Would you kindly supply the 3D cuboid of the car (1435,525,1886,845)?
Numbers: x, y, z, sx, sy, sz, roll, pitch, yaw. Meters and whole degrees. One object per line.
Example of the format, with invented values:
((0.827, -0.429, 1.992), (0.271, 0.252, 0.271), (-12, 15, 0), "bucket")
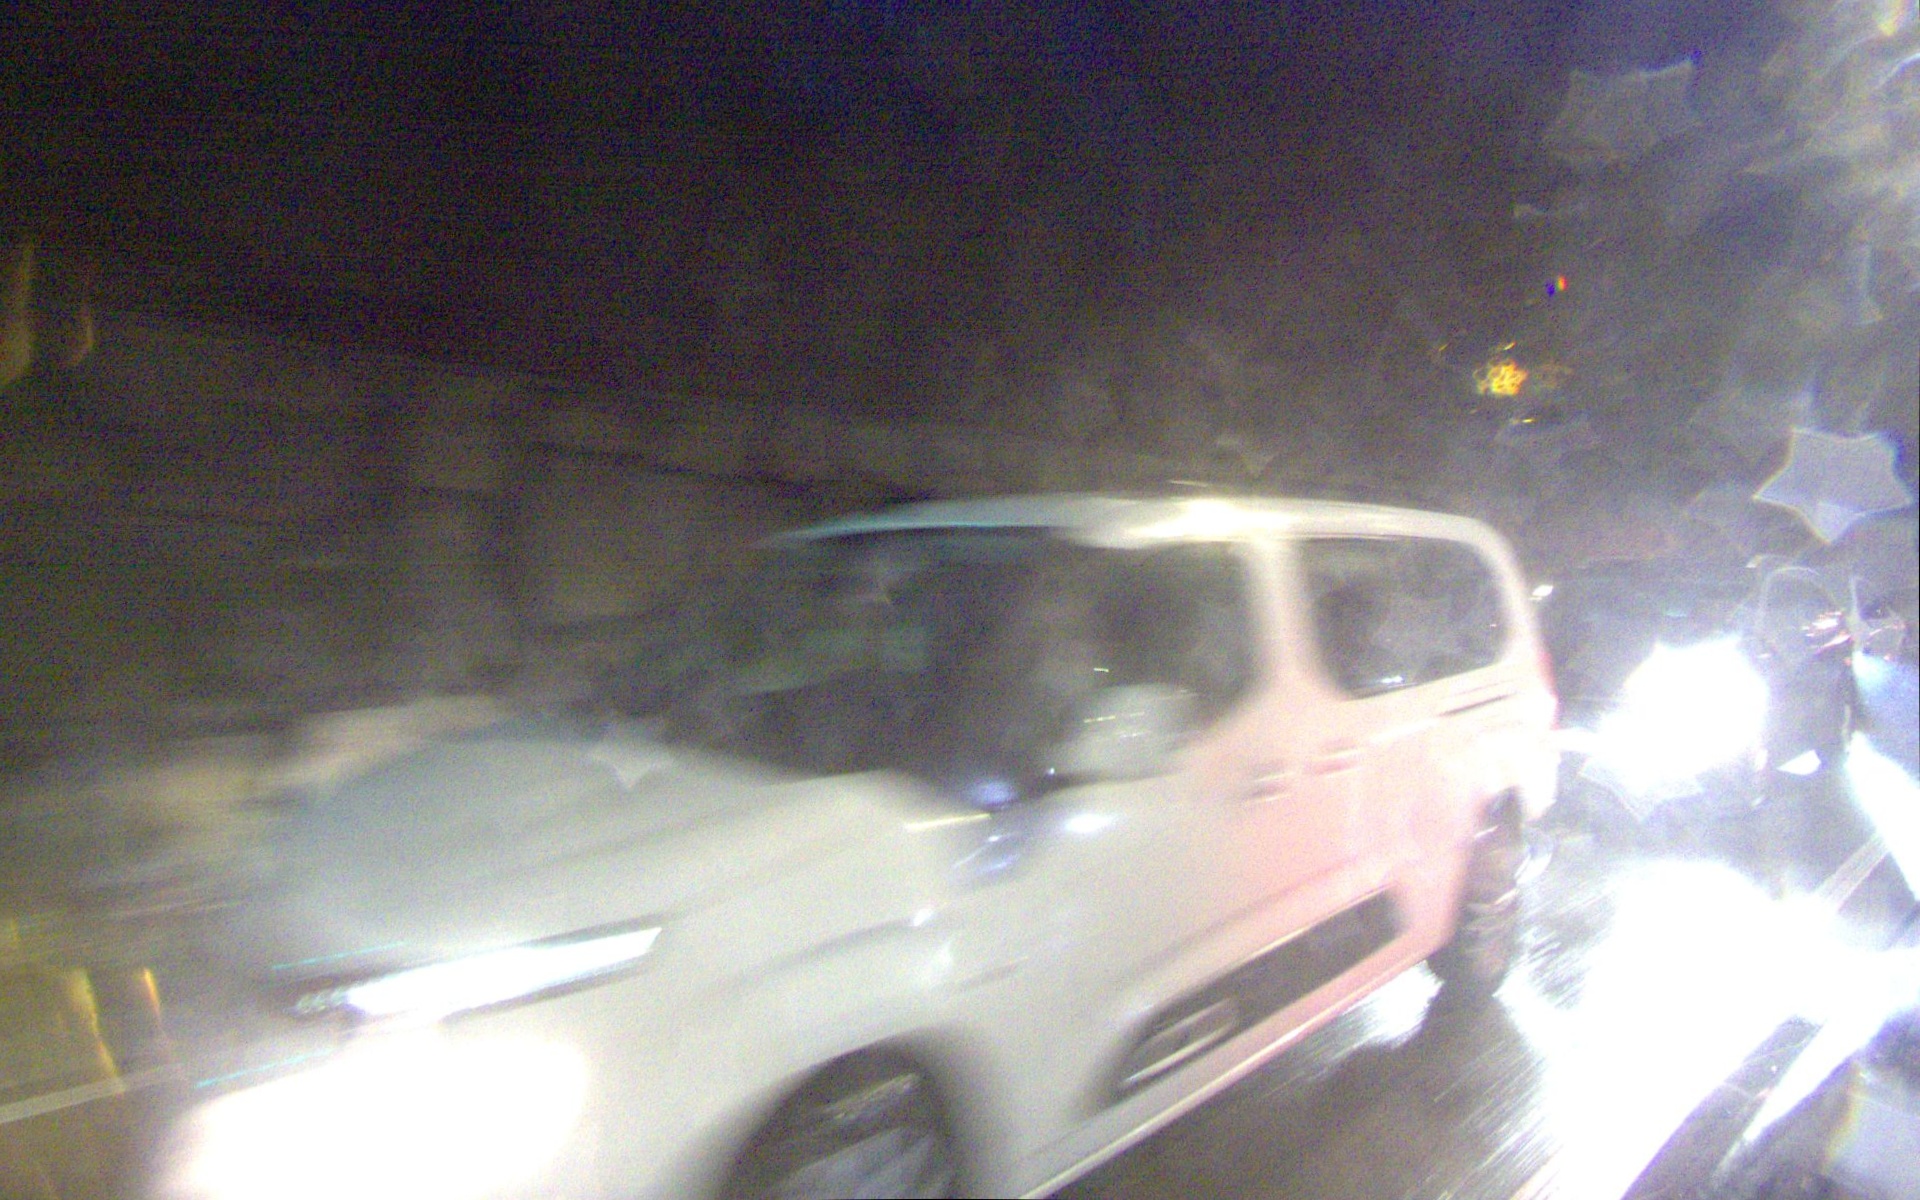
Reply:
((5.549, 0.448, 7.821), (4.124, 1.835, 1.793), (-1, 1, -39), "car")

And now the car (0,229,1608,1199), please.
((0.236, 0.414, 3.220), (4.806, 1.608, 1.876), (-2, 1, -42), "car")

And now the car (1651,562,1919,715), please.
((10.615, 0.349, 12.656), (4.609, 1.572, 1.998), (-1, 1, -39), "car")
